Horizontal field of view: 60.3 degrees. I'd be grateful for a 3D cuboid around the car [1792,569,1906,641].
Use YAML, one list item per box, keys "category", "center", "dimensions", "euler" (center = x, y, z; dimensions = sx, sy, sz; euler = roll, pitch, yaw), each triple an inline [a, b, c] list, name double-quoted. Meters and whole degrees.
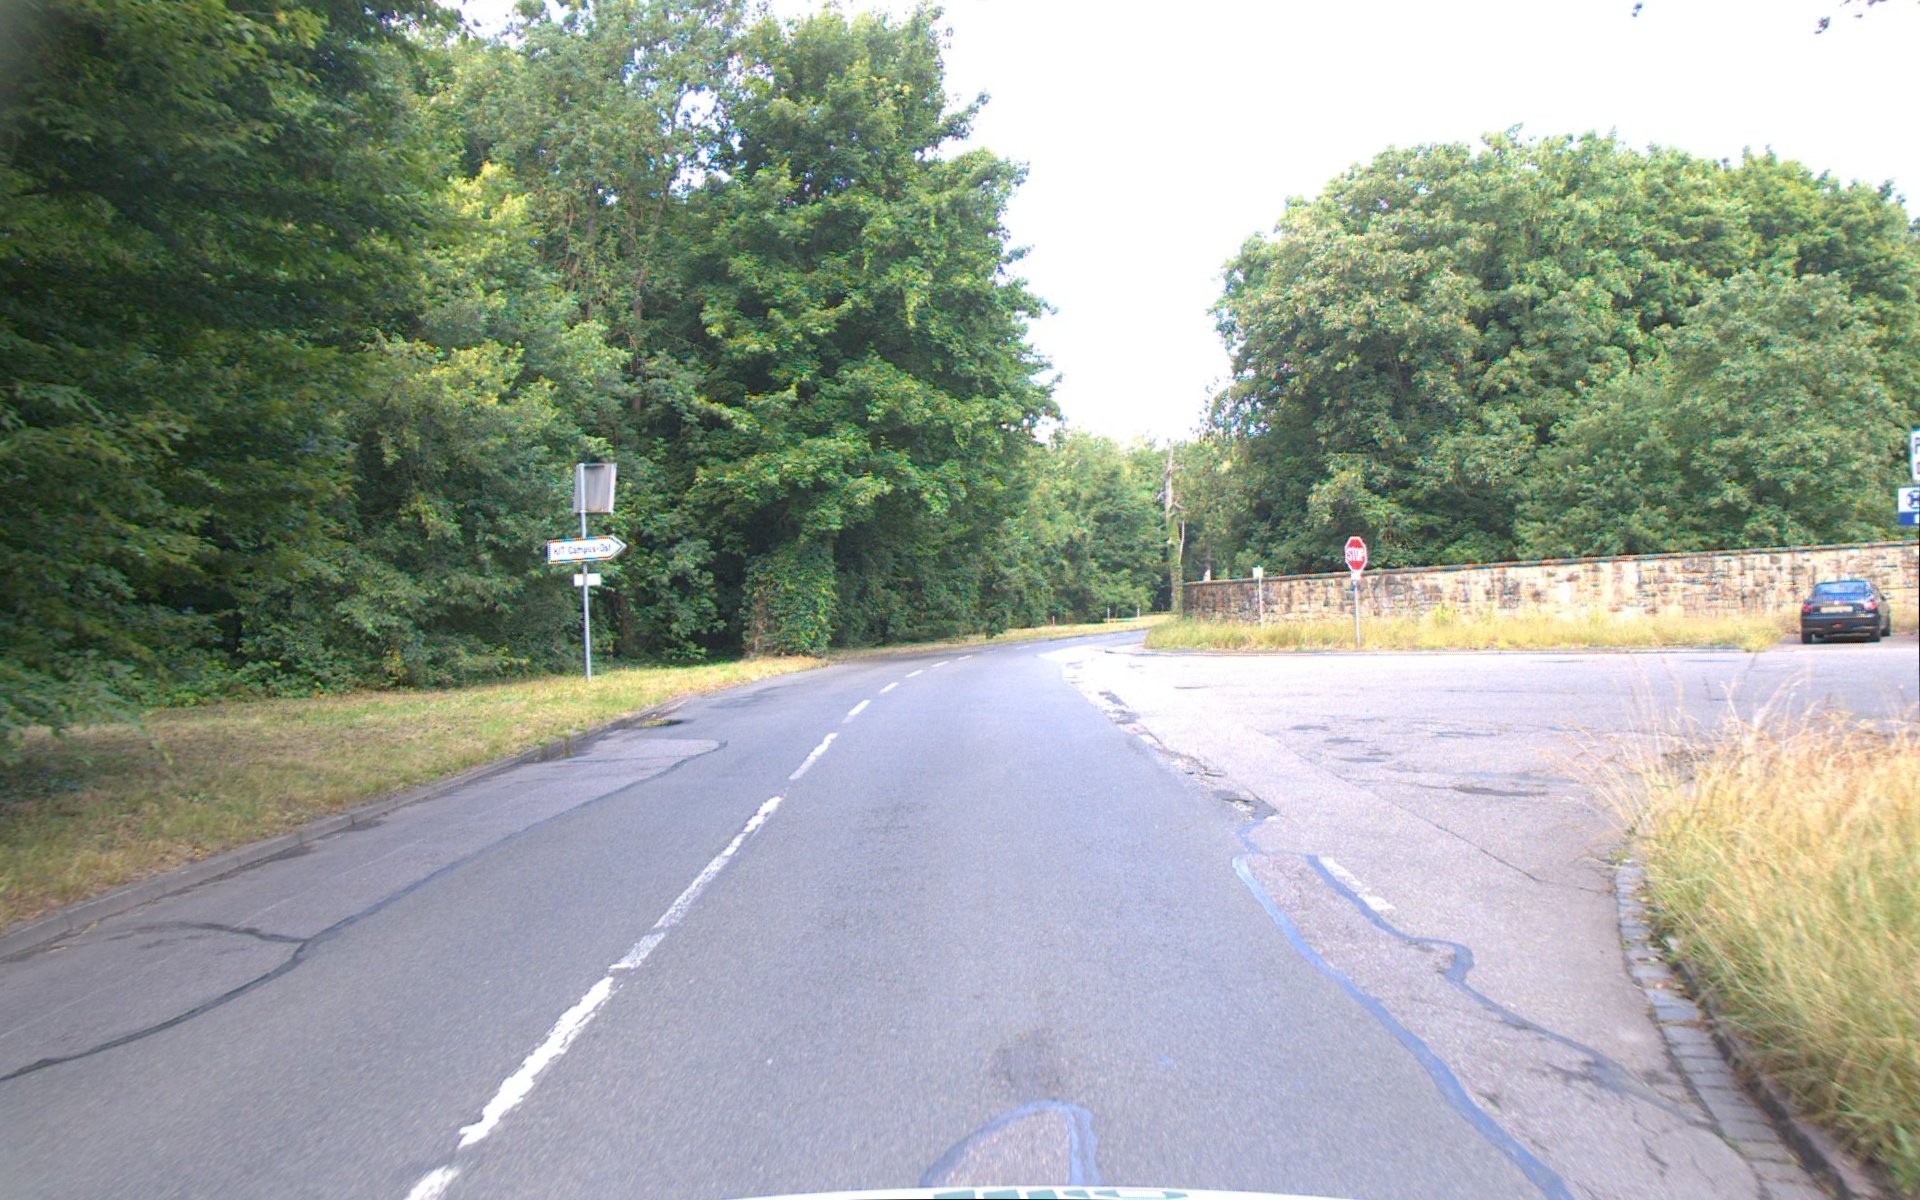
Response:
- category: "car"
  center: [21.006, 0.090, 39.010]
  dimensions: [1.842, 1.466, 3.986]
  euler: [-3, 1, 36]
